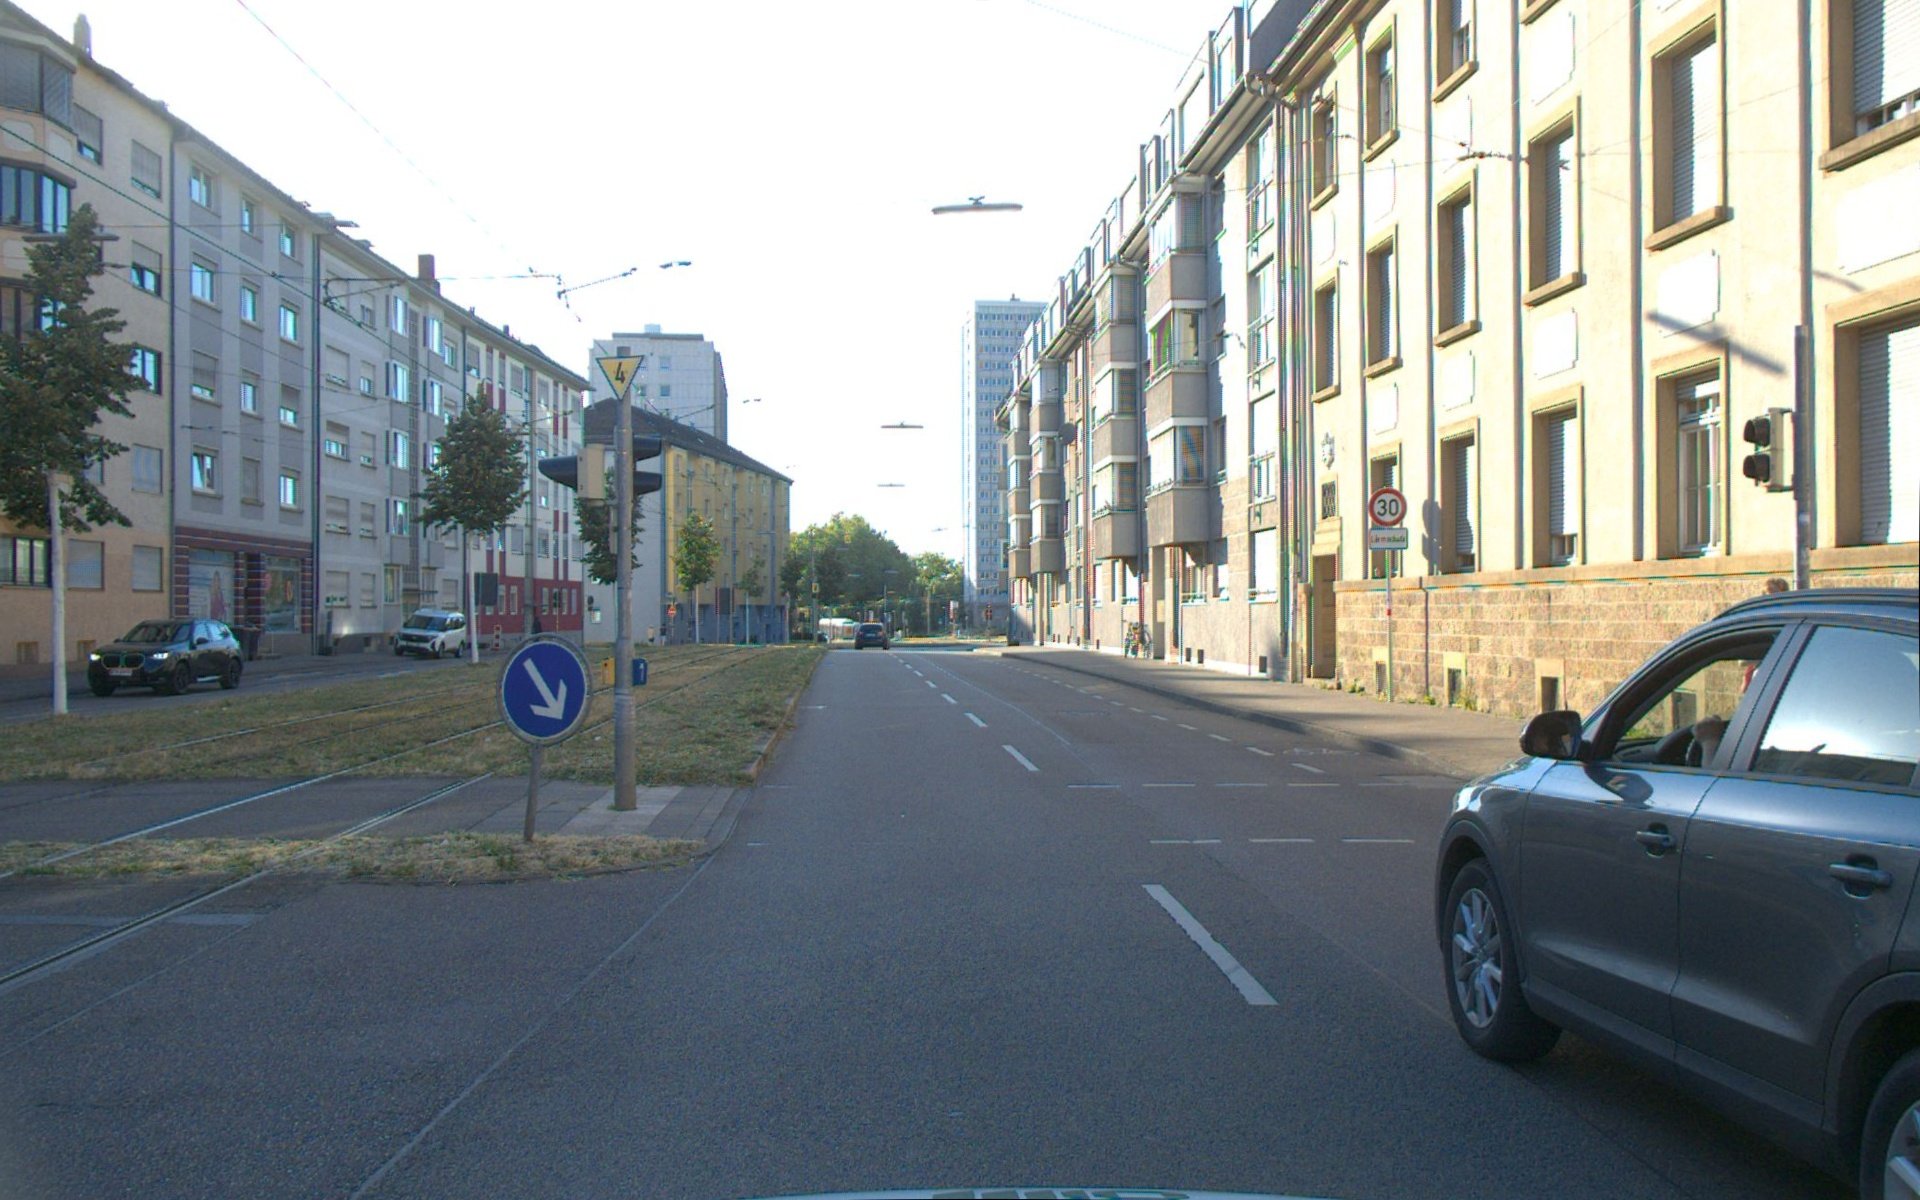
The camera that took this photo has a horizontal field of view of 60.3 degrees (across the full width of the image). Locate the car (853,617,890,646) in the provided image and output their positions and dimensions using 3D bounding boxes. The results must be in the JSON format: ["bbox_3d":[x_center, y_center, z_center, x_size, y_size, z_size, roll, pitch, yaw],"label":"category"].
[{"bbox_3d":[-4.761,1.701,89.751,1.887,1.482,4.325,1,-1,-2],"label":"car"}]

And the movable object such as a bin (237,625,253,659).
[{"bbox_3d":[-22.741,1.341,52.604,0.292,1.055,0.441,1,-2,-5],"label":"movable object such as a bin"}]

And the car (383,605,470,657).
[{"bbox_3d":[-21.121,1.240,65.641,1.953,1.959,4.541,1,-1,0],"label":"car"}]

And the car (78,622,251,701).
[{"bbox_3d":[-18.118,1.355,37.927,1.859,1.662,4.744,-1,-1,-3],"label":"car"}]

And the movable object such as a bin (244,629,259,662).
[{"bbox_3d":[-22.761,1.469,53.124,0.292,1.055,0.441,1,-1,-5],"label":"movable object such as a bin"}]

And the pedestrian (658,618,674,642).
[{"bbox_3d":[-20.960,2.146,118.006,0.942,1.699,1.011,1,-1,1],"label":"pedestrian"}]

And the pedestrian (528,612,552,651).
[{"bbox_3d":[-22.905,1.729,90.187,0.984,2.071,0.886,1,-1,2],"label":"pedestrian"}]

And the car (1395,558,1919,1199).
[{"bbox_3d":[2.706,0.743,4.479,1.664,1.580,4.221,2,-1,-4],"label":"car"}]

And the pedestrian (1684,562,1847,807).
[{"bbox_3d":[6.102,0.631,12.563,0.819,1.793,0.823,1,-1,-4],"label":"pedestrian"}]

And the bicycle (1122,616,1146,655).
[{"bbox_3d":[5.060,1.033,48.170,0.376,1.115,1.502,-1,-1,-6],"label":"bicycle"}]

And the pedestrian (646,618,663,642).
[{"bbox_3d":[-21.758,2.124,117.761,0.942,1.724,1.011,1,-1,1],"label":"pedestrian"}]
